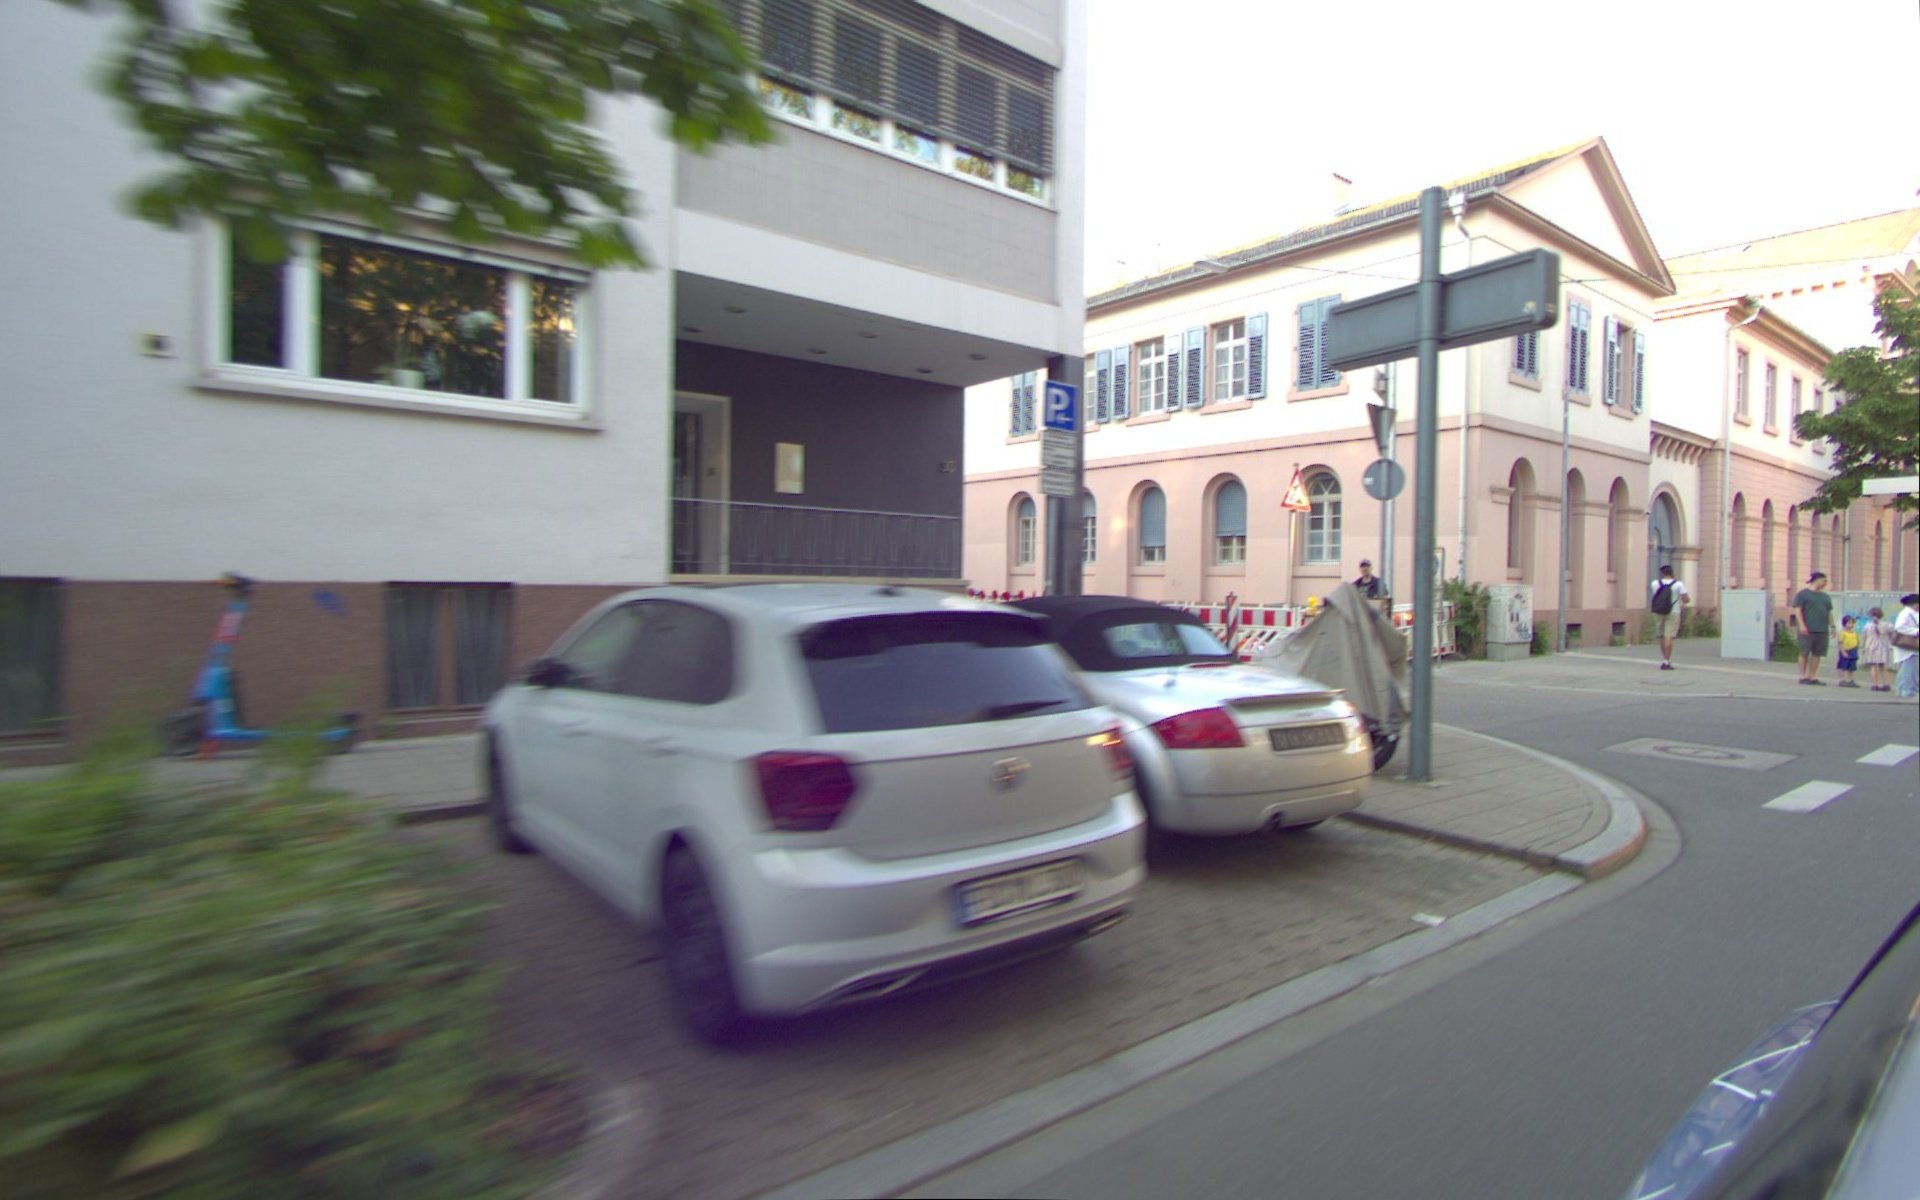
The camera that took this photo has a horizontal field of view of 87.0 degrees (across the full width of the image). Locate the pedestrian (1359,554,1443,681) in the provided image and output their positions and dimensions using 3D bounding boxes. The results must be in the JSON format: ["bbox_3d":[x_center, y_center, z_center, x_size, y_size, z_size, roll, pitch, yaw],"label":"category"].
[{"bbox_3d":[6.564,0.244,15.059,1.046,1.817,0.699,0,1,-37],"label":"pedestrian"}]

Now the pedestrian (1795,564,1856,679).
[{"bbox_3d":[13.956,0.329,16.315,0.565,1.796,0.545,0,3,-36],"label":"pedestrian"}]

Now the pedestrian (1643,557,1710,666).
[{"bbox_3d":[12.947,0.191,18.273,1.031,1.878,0.698,0,2,-41],"label":"pedestrian"}]

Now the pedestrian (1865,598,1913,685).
[{"bbox_3d":[14.273,0.628,15.551,0.482,1.277,0.450,0,3,-44],"label":"pedestrian"}]

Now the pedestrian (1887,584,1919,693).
[{"bbox_3d":[13.988,0.552,14.610,0.593,1.529,0.715,3,3,23],"label":"pedestrian"}]

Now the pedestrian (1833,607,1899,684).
[{"bbox_3d":[14.504,0.718,16.216,0.535,1.159,0.493,2,2,-1],"label":"pedestrian"}]

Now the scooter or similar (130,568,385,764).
[{"bbox_3d":[-4.766,0.418,6.952,1.391,1.254,0.347,0,1,-28],"label":"scooter or similar"}]

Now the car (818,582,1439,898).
[{"bbox_3d":[0.749,0.592,6.657,1.760,1.349,4.002,0,2,-34],"label":"car"}]

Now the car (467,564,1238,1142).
[{"bbox_3d":[-0.911,0.577,4.685,1.761,1.455,3.999,0,2,-37],"label":"car"}]

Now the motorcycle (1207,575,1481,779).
[{"bbox_3d":[3.020,0.520,8.201,0.979,1.409,1.918,0,2,-24],"label":"motorcycle"}]
